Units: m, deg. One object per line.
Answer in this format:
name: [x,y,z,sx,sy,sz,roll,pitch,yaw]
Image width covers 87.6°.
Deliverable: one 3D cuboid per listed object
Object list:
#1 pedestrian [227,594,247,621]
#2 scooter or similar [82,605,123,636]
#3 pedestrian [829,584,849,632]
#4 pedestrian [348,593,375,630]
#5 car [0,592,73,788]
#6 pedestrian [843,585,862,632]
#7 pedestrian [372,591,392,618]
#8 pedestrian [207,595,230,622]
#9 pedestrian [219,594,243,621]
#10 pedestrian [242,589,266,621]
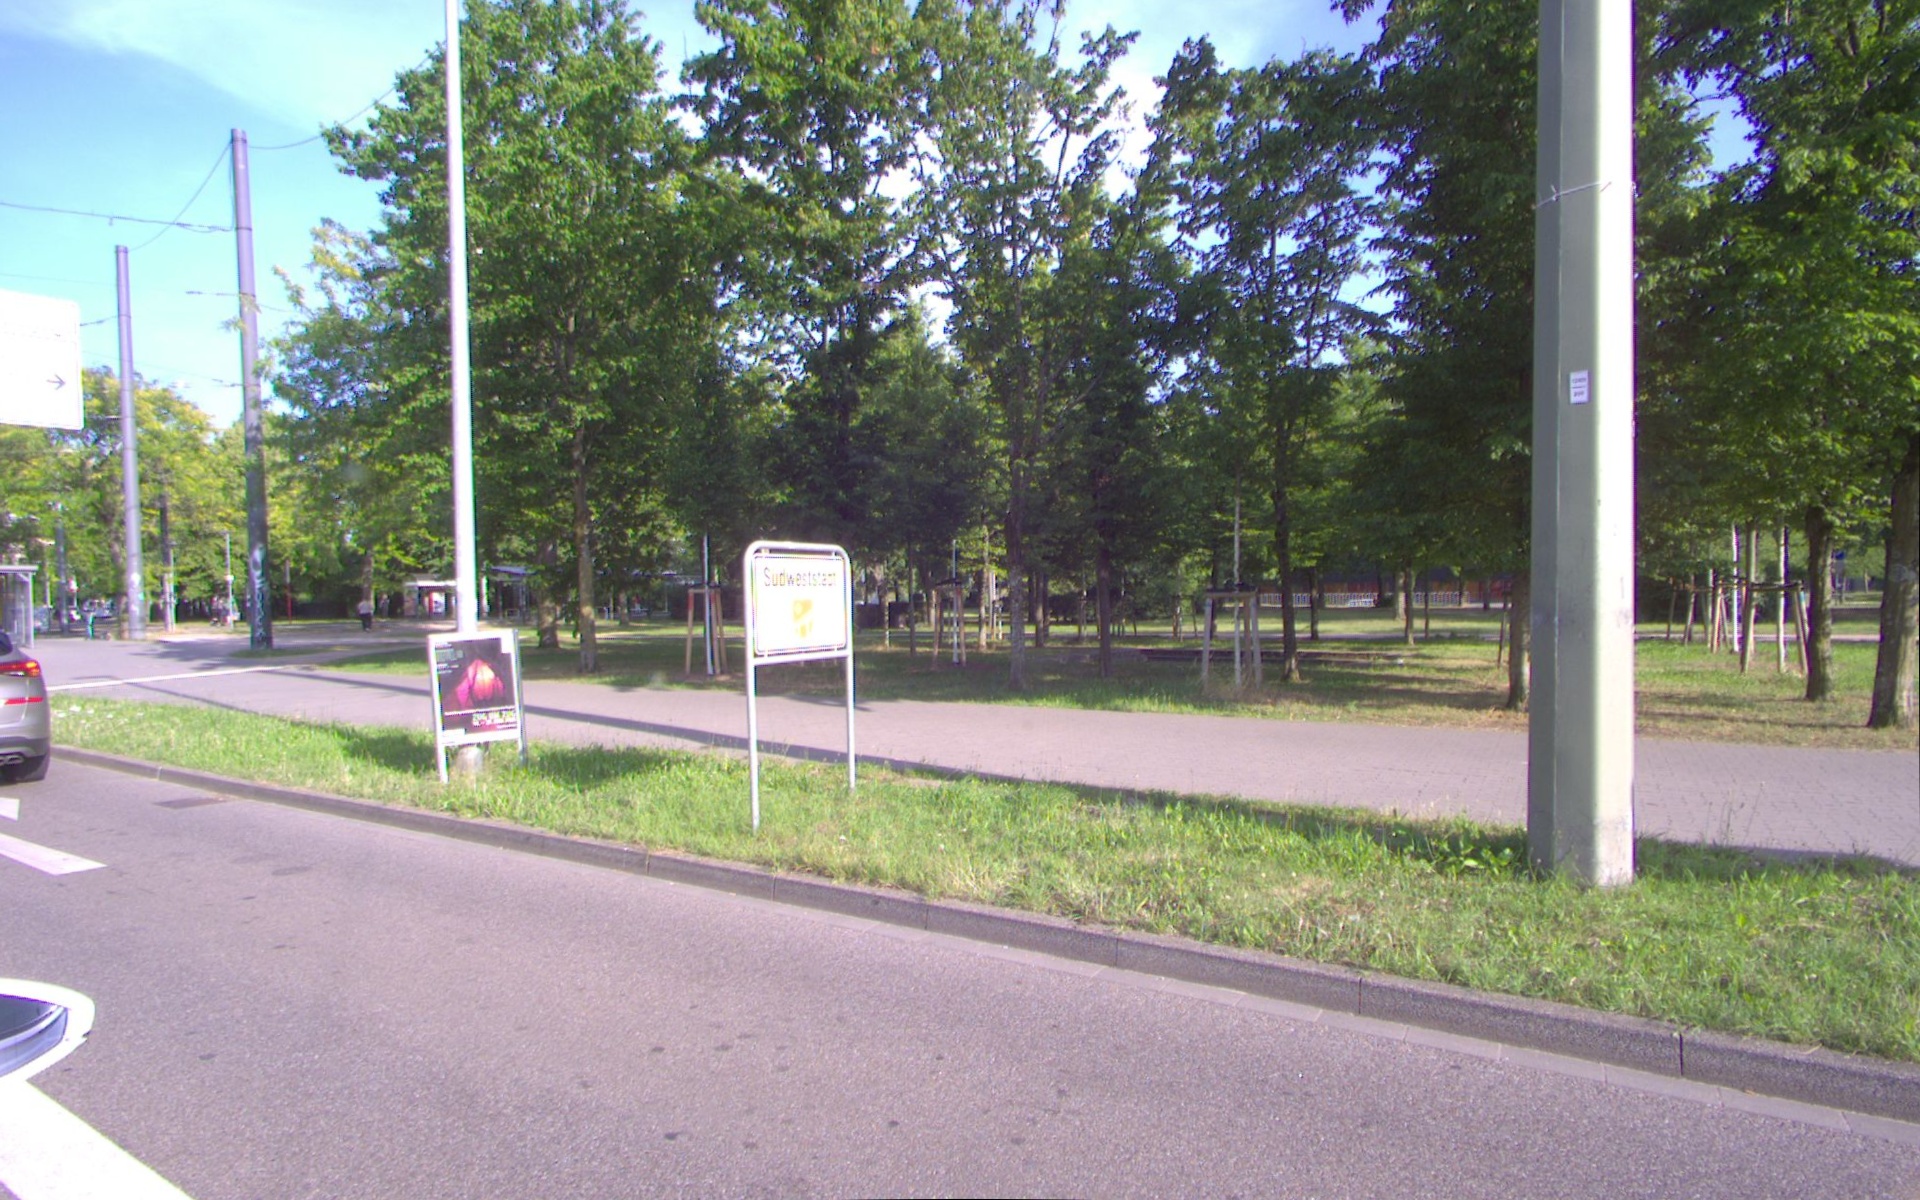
pedestrian: [-40.000,0.415,55.412,0.804,1.508,0.696,-2,1,-33]
scooter or similar: [-31.507,0.743,36.797,1.305,1.132,0.420,-1,1,13]
pedestrian: [-4.647,0.292,38.428,0.617,1.836,0.502,-1,1,6]
pedestrian: [-27.750,0.523,46.464,0.793,1.659,0.754,-1,1,-7]
car: [-9.982,0.800,9.141,3.595,1.673,1.880,-1,1,32]
pedestrian: [-4.216,0.339,39.283,0.617,1.836,0.502,-1,1,3]
pedestrian: [-36.934,0.278,64.006,0.792,1.659,0.832,0,1,38]
pedestrian: [-41.040,0.470,55.429,0.687,1.508,0.815,-1,1,-9]
pedestrian: [-41.104,0.425,56.456,0.688,1.508,0.813,0,1,22]
pedestrian: [-40.261,0.303,57.143,0.826,1.809,0.798,0,1,28]
